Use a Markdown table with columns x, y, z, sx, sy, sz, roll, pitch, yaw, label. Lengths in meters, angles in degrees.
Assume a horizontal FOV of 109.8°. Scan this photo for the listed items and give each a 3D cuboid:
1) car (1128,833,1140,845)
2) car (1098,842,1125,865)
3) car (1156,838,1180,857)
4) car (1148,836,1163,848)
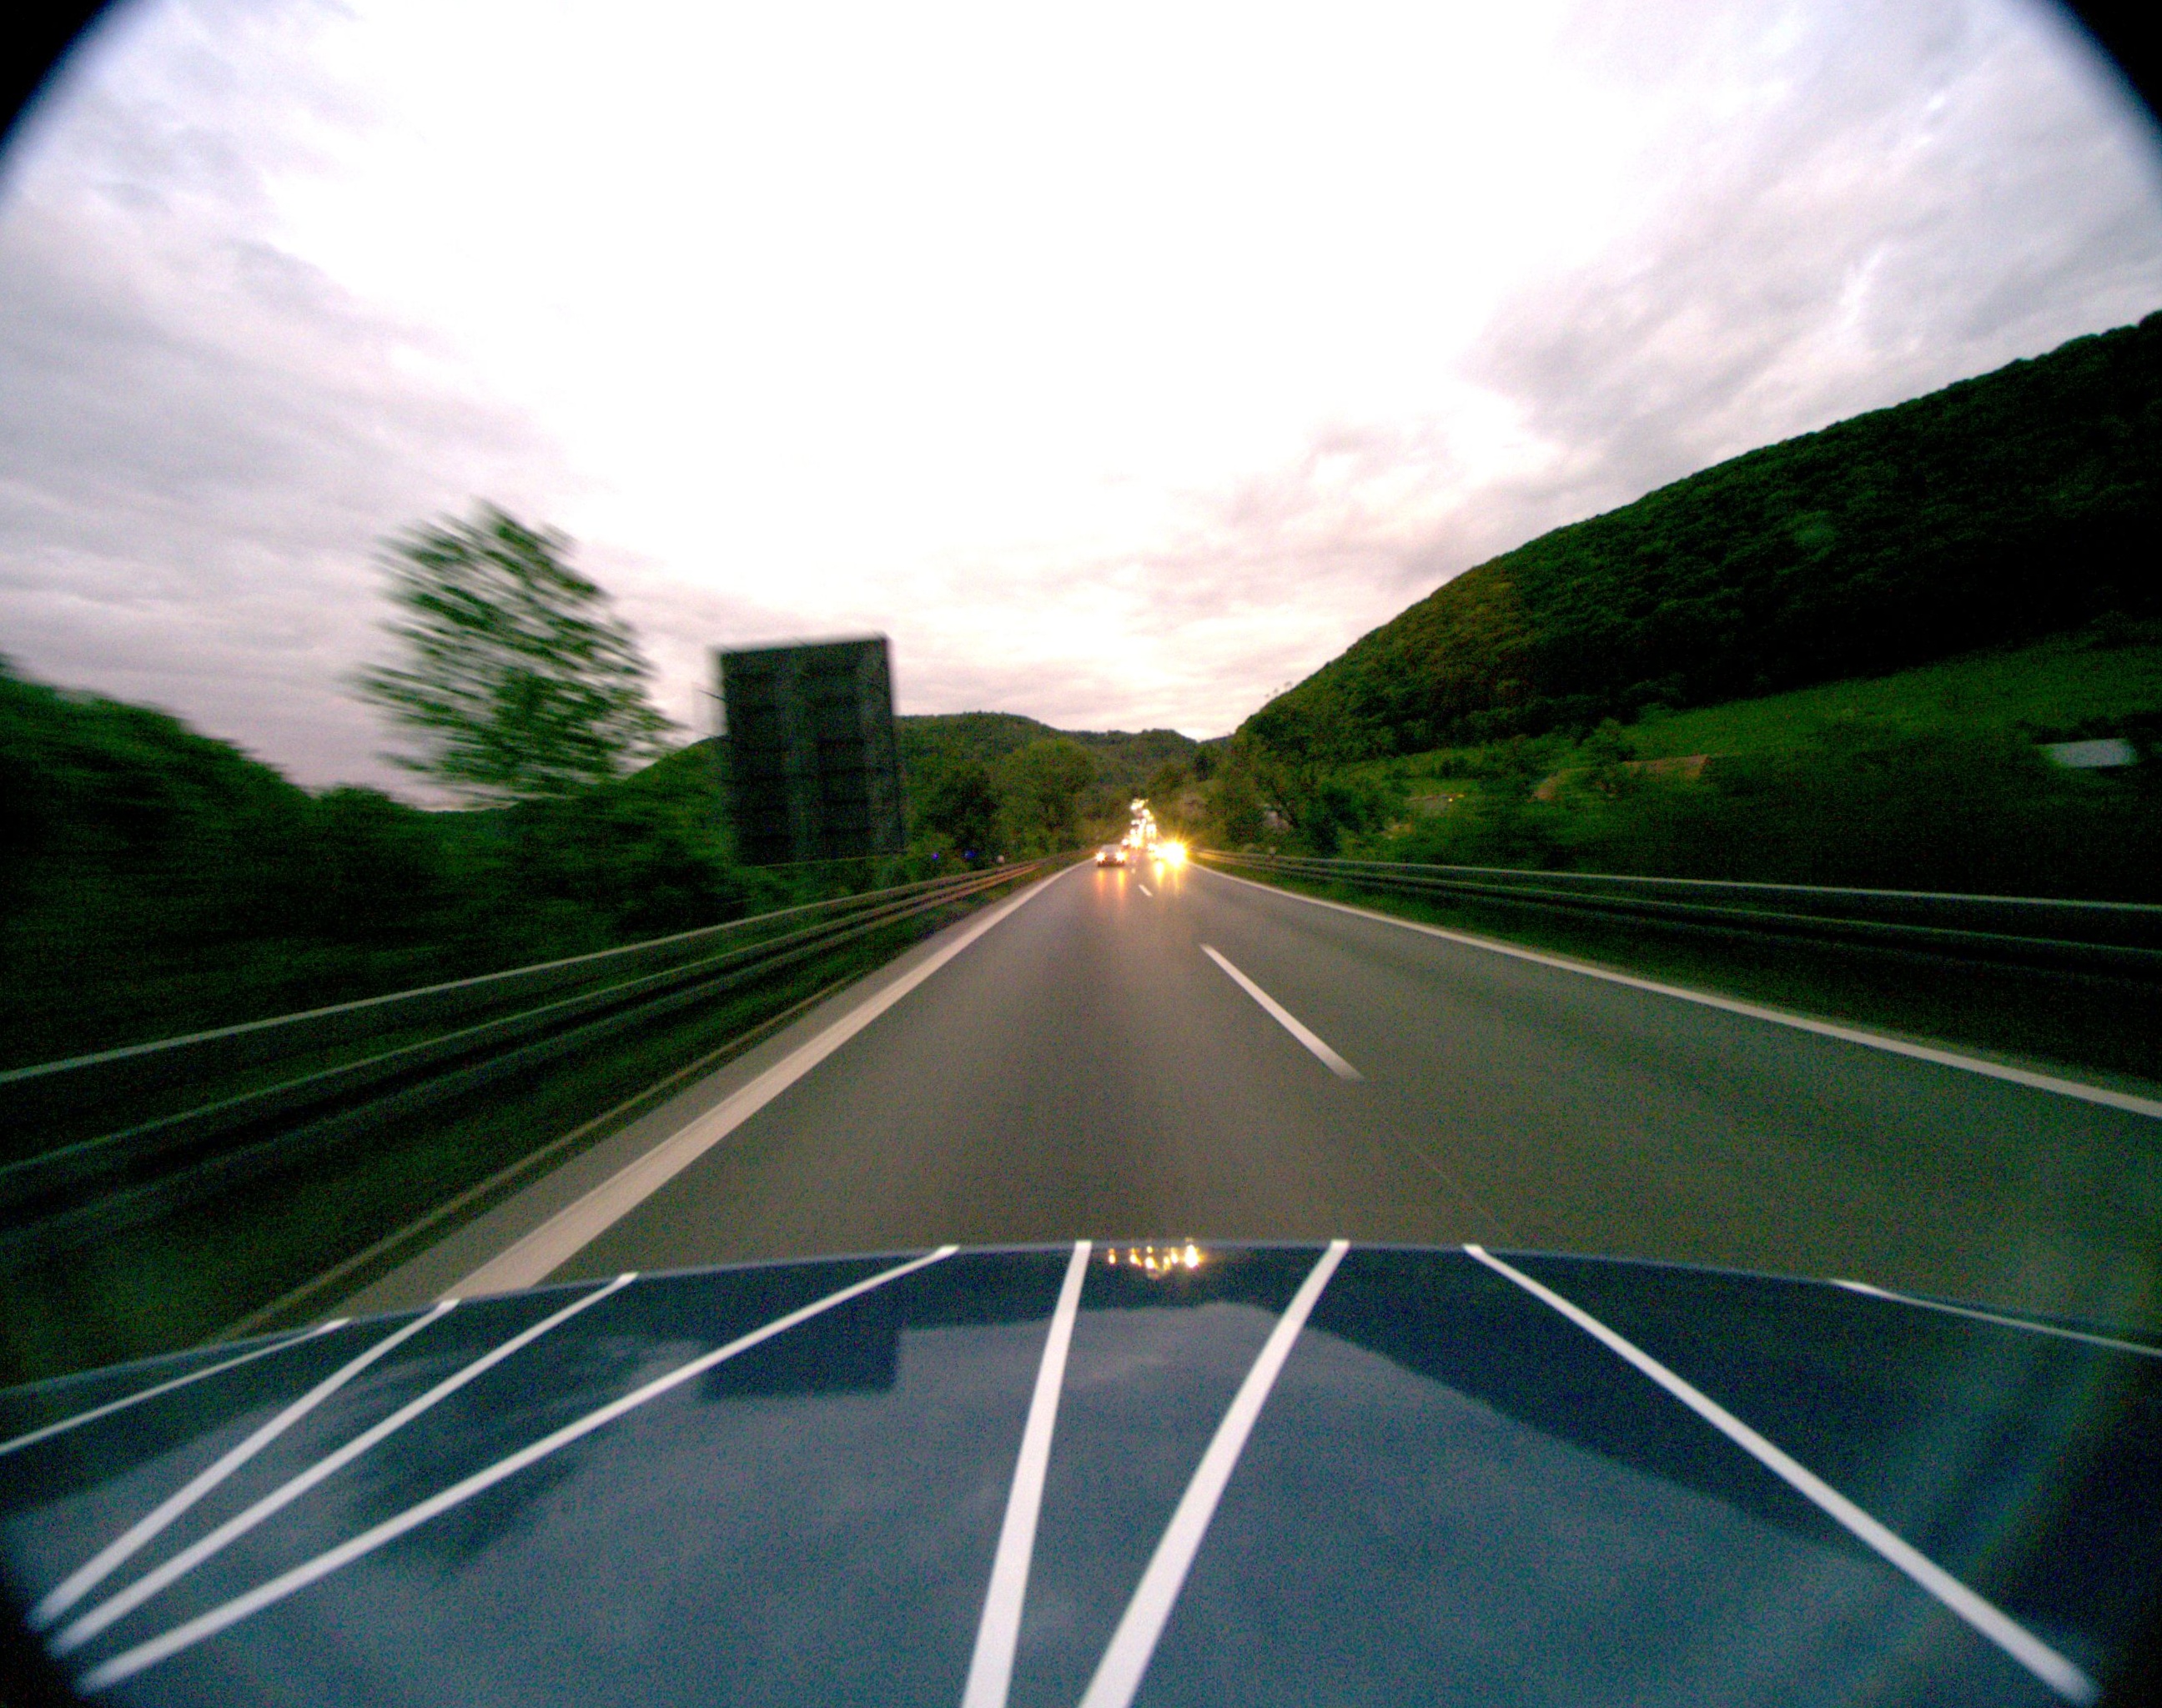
| x | y | z | sx | sy | sz | roll | pitch | yaw | label |
| --- | --- | --- | --- | --- | --- | --- | --- | --- | --- |
| 7.887 | -2.238 | 113.265 | 1.737 | 1.641 | 3.669 | -3 | 0 | 3 | car |
| 2.130 | -0.067 | 52.380 | 1.690 | 1.443 | 3.669 | -3 | 0 | 4 | car |
| 7.057 | -0.522 | 62.035 | 1.690 | 1.460 | 3.768 | -3 | 0 | 3 | car |
| 9.183 | -1.454 | 93.959 | 1.690 | 1.425 | 3.669 | -3 | 0 | 3 | car |
